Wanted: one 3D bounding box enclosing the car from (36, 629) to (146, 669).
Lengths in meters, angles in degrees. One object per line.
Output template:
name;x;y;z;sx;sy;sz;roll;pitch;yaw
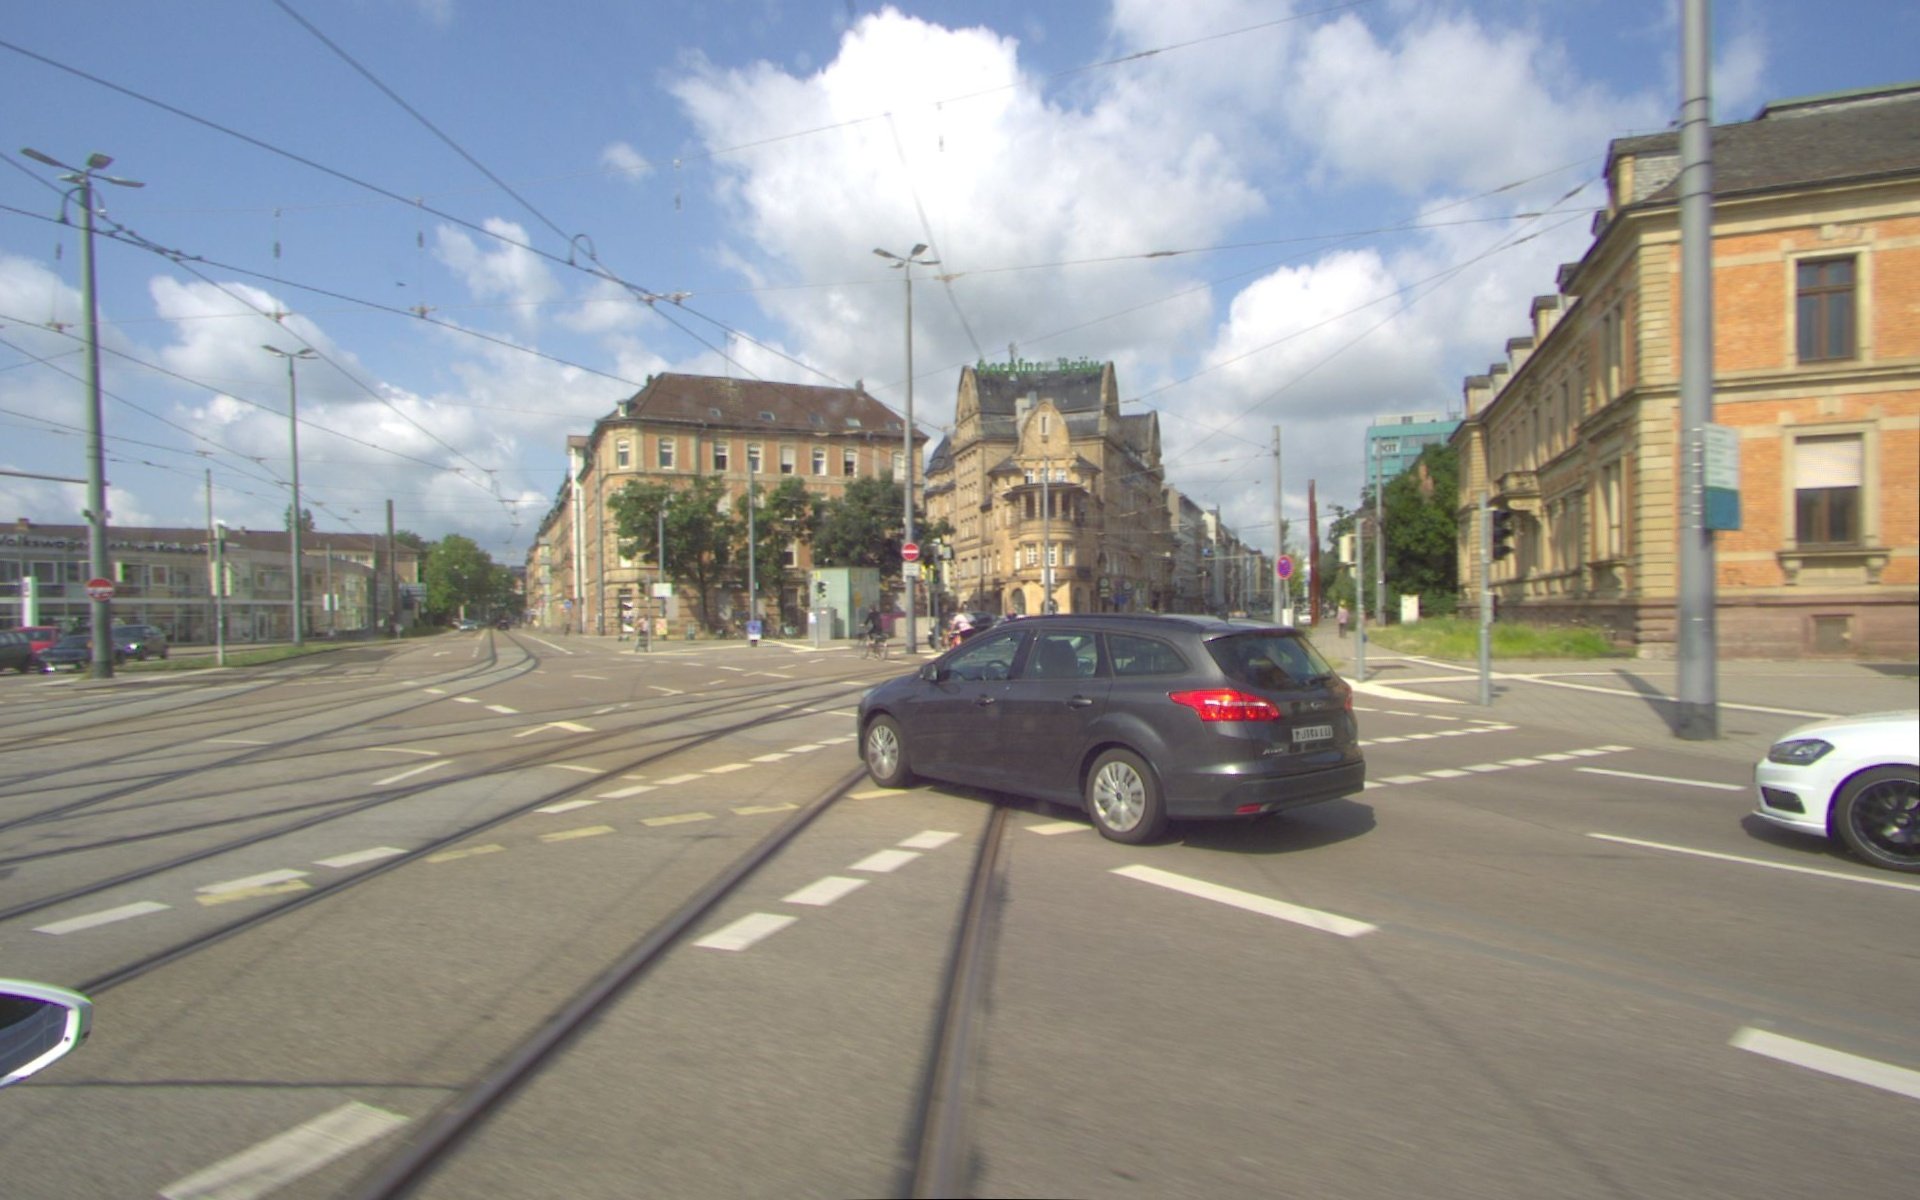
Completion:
car;-28.388;1.567;32.850;1.600;1.176;3.987;0;-1;-24

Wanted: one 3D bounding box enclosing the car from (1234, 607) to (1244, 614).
car;59.569;2.194;213.780;1.820;1.558;3.813;-1;-1;21

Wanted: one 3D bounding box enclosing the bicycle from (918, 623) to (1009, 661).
bicycle;0.071;1.287;30.190;0.985;1.040;3.084;1;-4;-40

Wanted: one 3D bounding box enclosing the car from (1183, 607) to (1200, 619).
car;31.003;1.740;134.081;1.820;1.558;3.813;-1;-1;21

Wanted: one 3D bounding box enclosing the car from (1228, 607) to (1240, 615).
car;50.141;1.987;183.271;1.820;1.558;3.813;-1;-1;21

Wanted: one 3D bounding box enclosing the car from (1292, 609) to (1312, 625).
car;35.121;1.762;102.772;1.727;1.550;3.991;1;-1;23

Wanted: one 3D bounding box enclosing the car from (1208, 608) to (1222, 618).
car;41.005;2.020;161.005;1.819;1.559;3.813;0;0;21

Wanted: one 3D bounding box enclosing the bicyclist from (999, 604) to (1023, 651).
bicyclist;1.850;0.995;36.276;0.568;1.692;0.650;0;0;-43

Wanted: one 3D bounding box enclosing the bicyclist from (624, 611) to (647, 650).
bicyclist;-14.630;1.354;45.199;0.773;1.680;1.192;-2;1;-26

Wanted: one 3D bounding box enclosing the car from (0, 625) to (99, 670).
car;-33.617;1.697;36.758;1.968;1.538;3.987;0;-1;-24

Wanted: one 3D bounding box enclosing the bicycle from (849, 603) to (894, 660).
bicycle;-2.854;0.996;32.020;0.990;1.747;2.466;-1;-1;-15

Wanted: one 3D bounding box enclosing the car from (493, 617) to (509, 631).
car;-68.967;3.533;150.619;1.967;2.040;3.989;-1;0;-22

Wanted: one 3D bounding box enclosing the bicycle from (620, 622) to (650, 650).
bicycle;-14.731;1.613;45.296;0.887;1.186;2.669;-2;1;-26

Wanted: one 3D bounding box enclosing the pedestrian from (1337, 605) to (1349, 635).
pedestrian;20.016;1.050;52.340;0.497;1.525;0.498;-1;0;16

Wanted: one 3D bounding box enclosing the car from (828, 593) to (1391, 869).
car;0.883;0.781;7.789;1.754;1.548;4.218;1;-1;-41

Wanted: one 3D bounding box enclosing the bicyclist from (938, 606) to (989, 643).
bicyclist;0.097;0.744;30.173;0.983;1.040;1.205;1;-4;-41

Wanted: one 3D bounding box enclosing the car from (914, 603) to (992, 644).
car;-0.250;1.050;45.101;1.966;1.762;4.330;-1;-1;23

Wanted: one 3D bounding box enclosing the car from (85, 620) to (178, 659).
car;-36.543;1.715;44.302;1.966;1.572;3.989;-1;-1;-21

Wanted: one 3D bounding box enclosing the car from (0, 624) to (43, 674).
car;-30.854;1.541;31.485;1.797;1.532;3.987;0;-1;-24

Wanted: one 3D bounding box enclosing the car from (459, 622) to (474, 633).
car;-76.179;4.232;154.650;1.970;1.511;3.982;-1;0;-28

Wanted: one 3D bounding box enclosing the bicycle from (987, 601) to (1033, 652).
bicycle;1.807;0.945;36.258;0.724;1.800;1.622;0;-1;-43

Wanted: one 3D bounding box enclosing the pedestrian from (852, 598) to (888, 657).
pedestrian;-2.870;0.871;31.920;0.977;1.865;0.995;-1;0;-15

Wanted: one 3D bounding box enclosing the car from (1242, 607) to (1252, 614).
car;65.951;2.455;229.855;1.820;1.558;3.813;-1;-1;21

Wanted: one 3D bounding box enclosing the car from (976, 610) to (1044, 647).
car;2.632;1.442;51.205;1.967;1.617;4.670;-1;1;23

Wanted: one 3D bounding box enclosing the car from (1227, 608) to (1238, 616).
car;53.694;2.371;197.177;1.820;1.558;3.813;-1;-1;21

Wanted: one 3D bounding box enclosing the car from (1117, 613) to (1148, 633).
car;14.495;1.930;84.072;1.820;1.683;3.992;-1;-1;21

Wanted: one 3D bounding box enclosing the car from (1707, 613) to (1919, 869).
car;6.910;0.873;5.510;1.666;1.465;4.197;2;-1;-39

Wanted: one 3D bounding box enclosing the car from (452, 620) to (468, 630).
car;-71.122;3.507;142.487;1.970;1.349;3.983;-1;-1;-27
